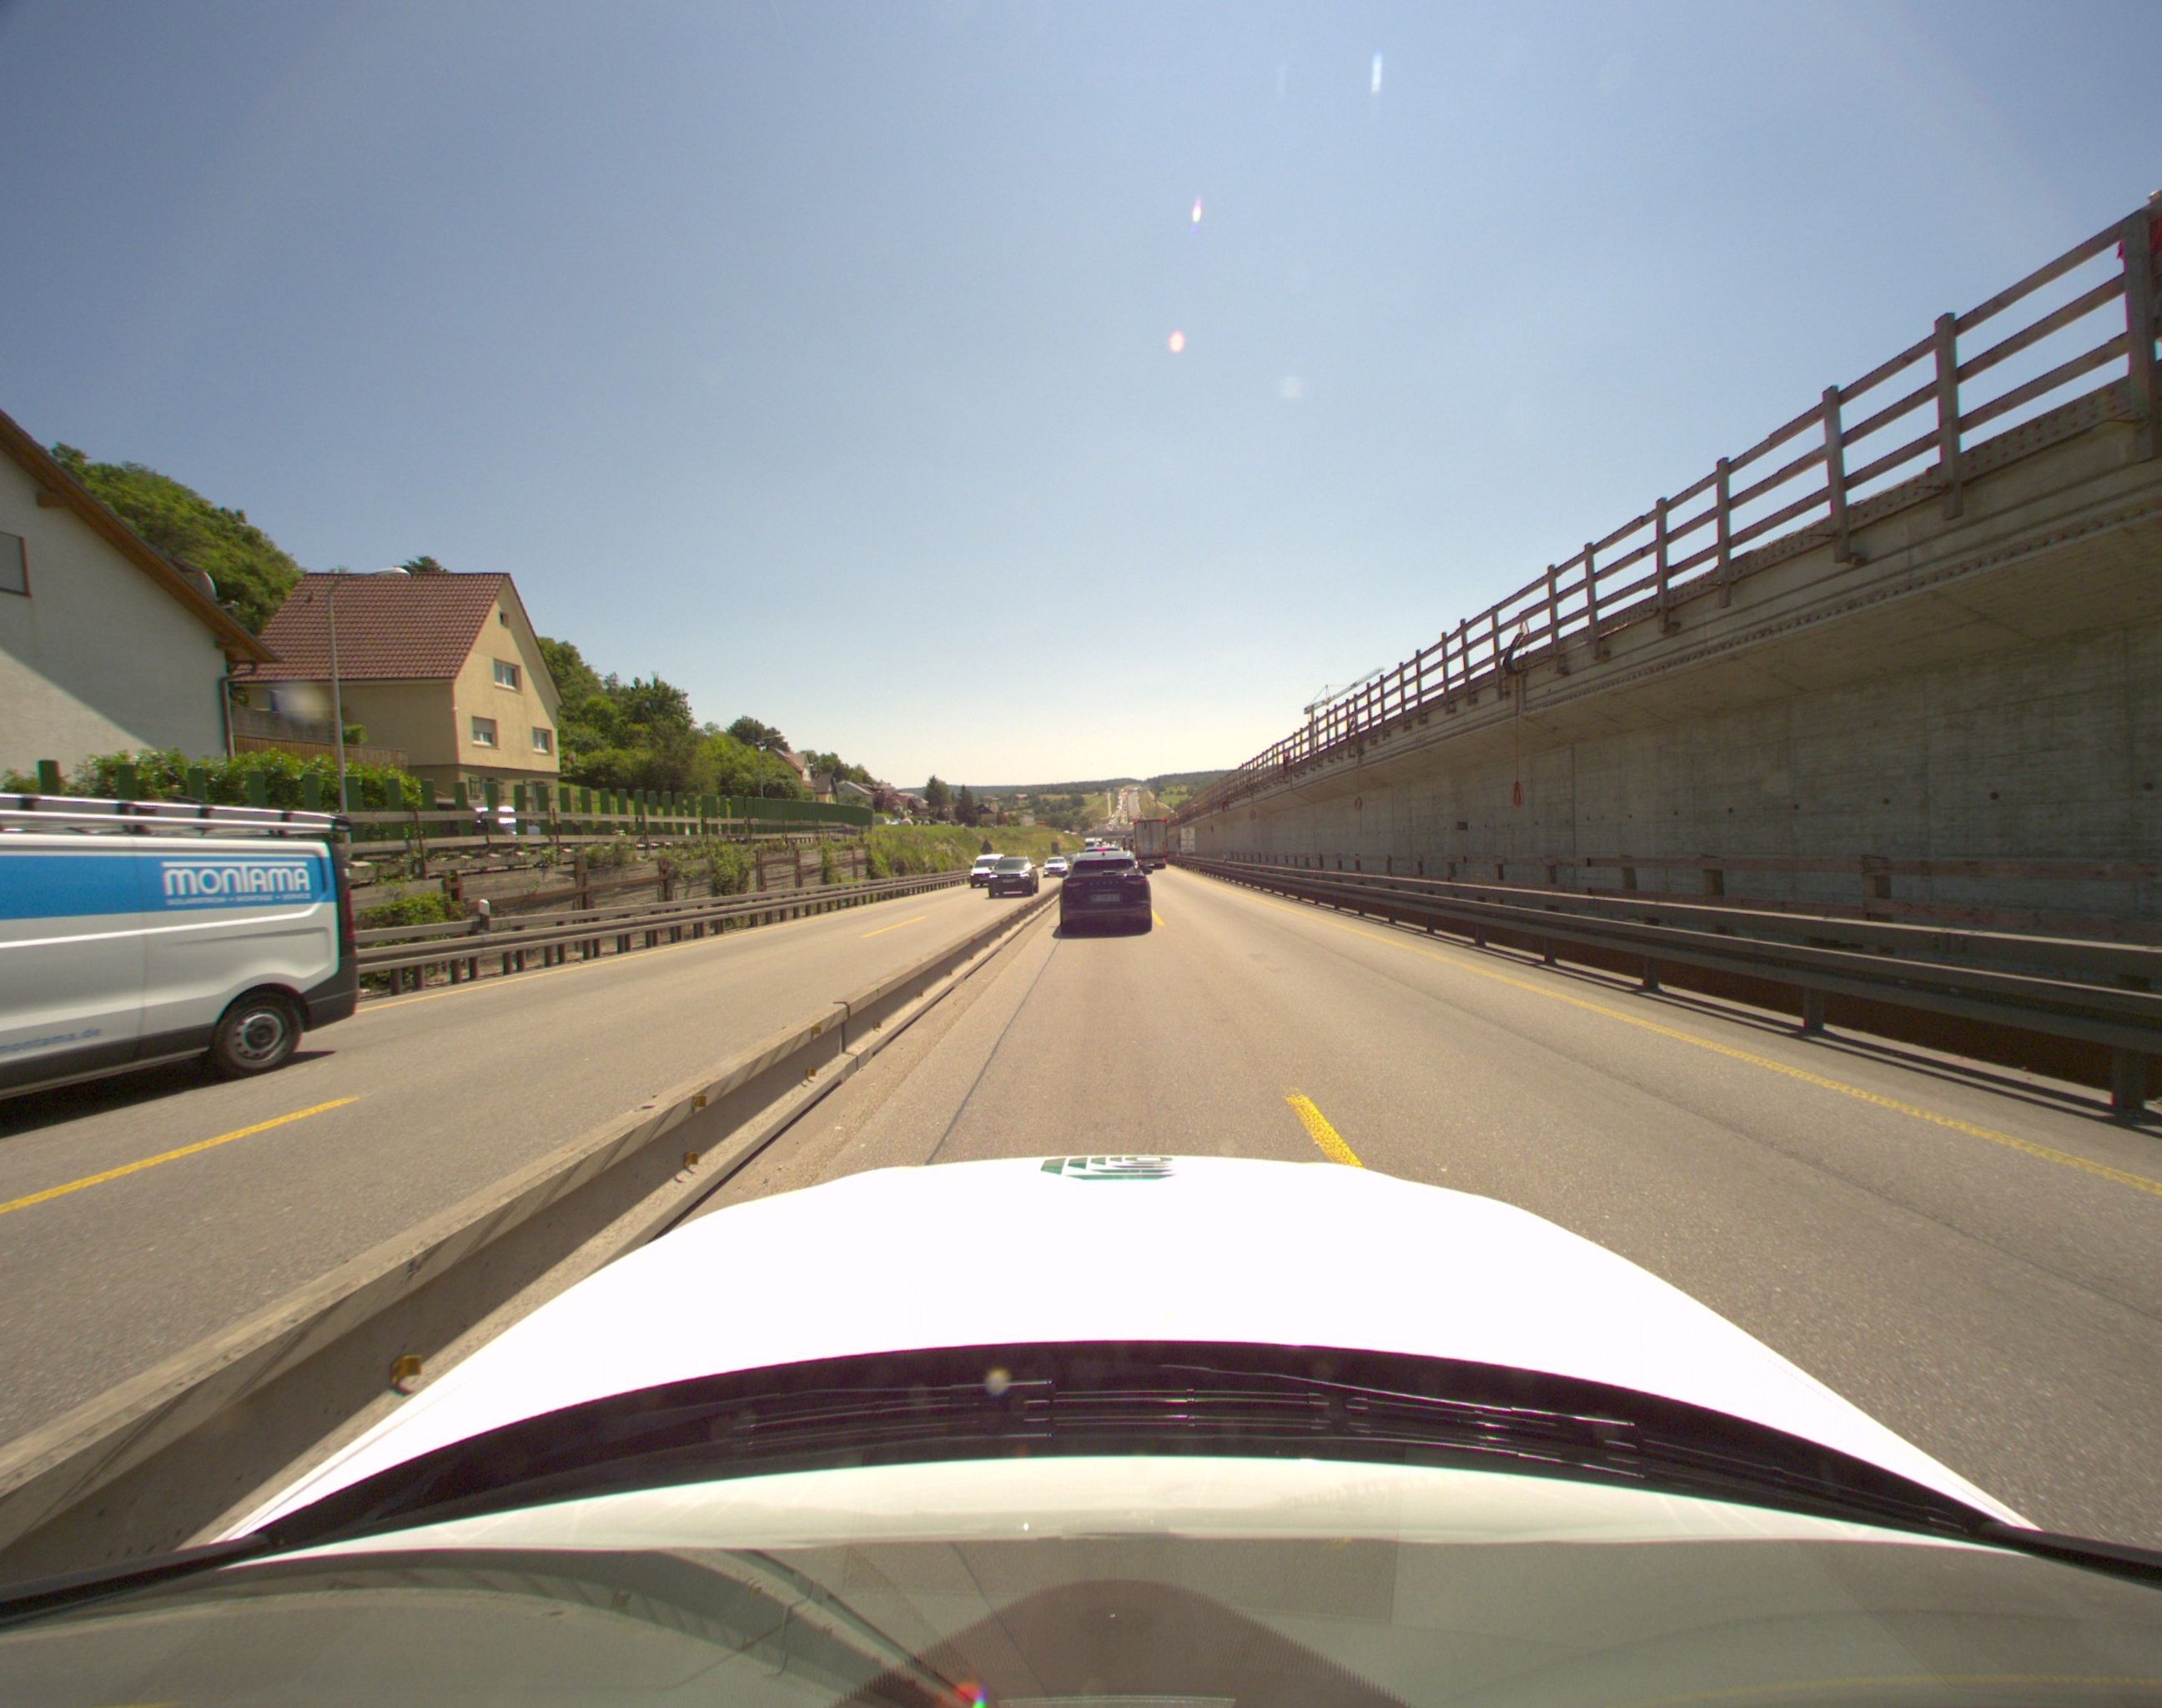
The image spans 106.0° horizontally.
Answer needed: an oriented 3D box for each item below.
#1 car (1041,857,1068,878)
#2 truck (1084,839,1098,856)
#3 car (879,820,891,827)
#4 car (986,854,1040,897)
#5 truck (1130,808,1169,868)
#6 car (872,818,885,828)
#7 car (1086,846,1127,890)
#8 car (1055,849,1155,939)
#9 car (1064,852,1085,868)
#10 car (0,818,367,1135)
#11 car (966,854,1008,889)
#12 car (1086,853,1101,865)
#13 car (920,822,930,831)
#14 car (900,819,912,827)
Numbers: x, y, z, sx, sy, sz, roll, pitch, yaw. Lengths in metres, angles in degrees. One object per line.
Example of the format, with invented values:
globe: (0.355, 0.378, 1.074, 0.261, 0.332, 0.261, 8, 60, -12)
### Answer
car: (-1.931, 0.978, 60.777, 1.726, 1.437, 4.259, -1, -1, 1)
truck: (2.683, -1.639, 220.727, 3.175, 4.238, 6.473, -3, -1, -5)
car: (-32.090, -4.995, 133.407, 1.277, 1.038, 3.271, -3, 0, -3)
car: (-2.810, 0.852, 34.437, 1.768, 1.633, 4.102, -2, 0, 2)
truck: (5.747, -1.183, 70.344, 2.834, 4.615, 11.820, -2, -1, 3)
car: (-32.065, -4.918, 128.863, 1.732, 1.398, 3.777, -1, 0, -18)
car: (1.106, 0.608, 37.060, 1.743, 1.895, 3.755, -1, 0, 0)
car: (0.499, 0.756, 17.126, 1.776, 1.597, 3.756, -3, 0, 1)
car: (-0.597, 0.608, 82.585, 1.599, 1.446, 4.676, -6, -1, 5)
car: (-7.497, 0.764, 4.815, 1.818, 1.926, 5.244, -1, 0, 1)
car: (-5.316, 0.965, 46.793, 1.590, 1.834, 4.755, -3, -1, 2)
car: (1.650, 0.675, 109.442, 1.836, 1.530, 4.296, -3, -1, 2)
car: (-34.449, -6.116, 180.213, 1.924, 1.728, 3.989, -3, 0, -8)
car: (-34.444, -6.166, 160.552, 1.992, 1.320, 3.988, 0, -1, -8)
